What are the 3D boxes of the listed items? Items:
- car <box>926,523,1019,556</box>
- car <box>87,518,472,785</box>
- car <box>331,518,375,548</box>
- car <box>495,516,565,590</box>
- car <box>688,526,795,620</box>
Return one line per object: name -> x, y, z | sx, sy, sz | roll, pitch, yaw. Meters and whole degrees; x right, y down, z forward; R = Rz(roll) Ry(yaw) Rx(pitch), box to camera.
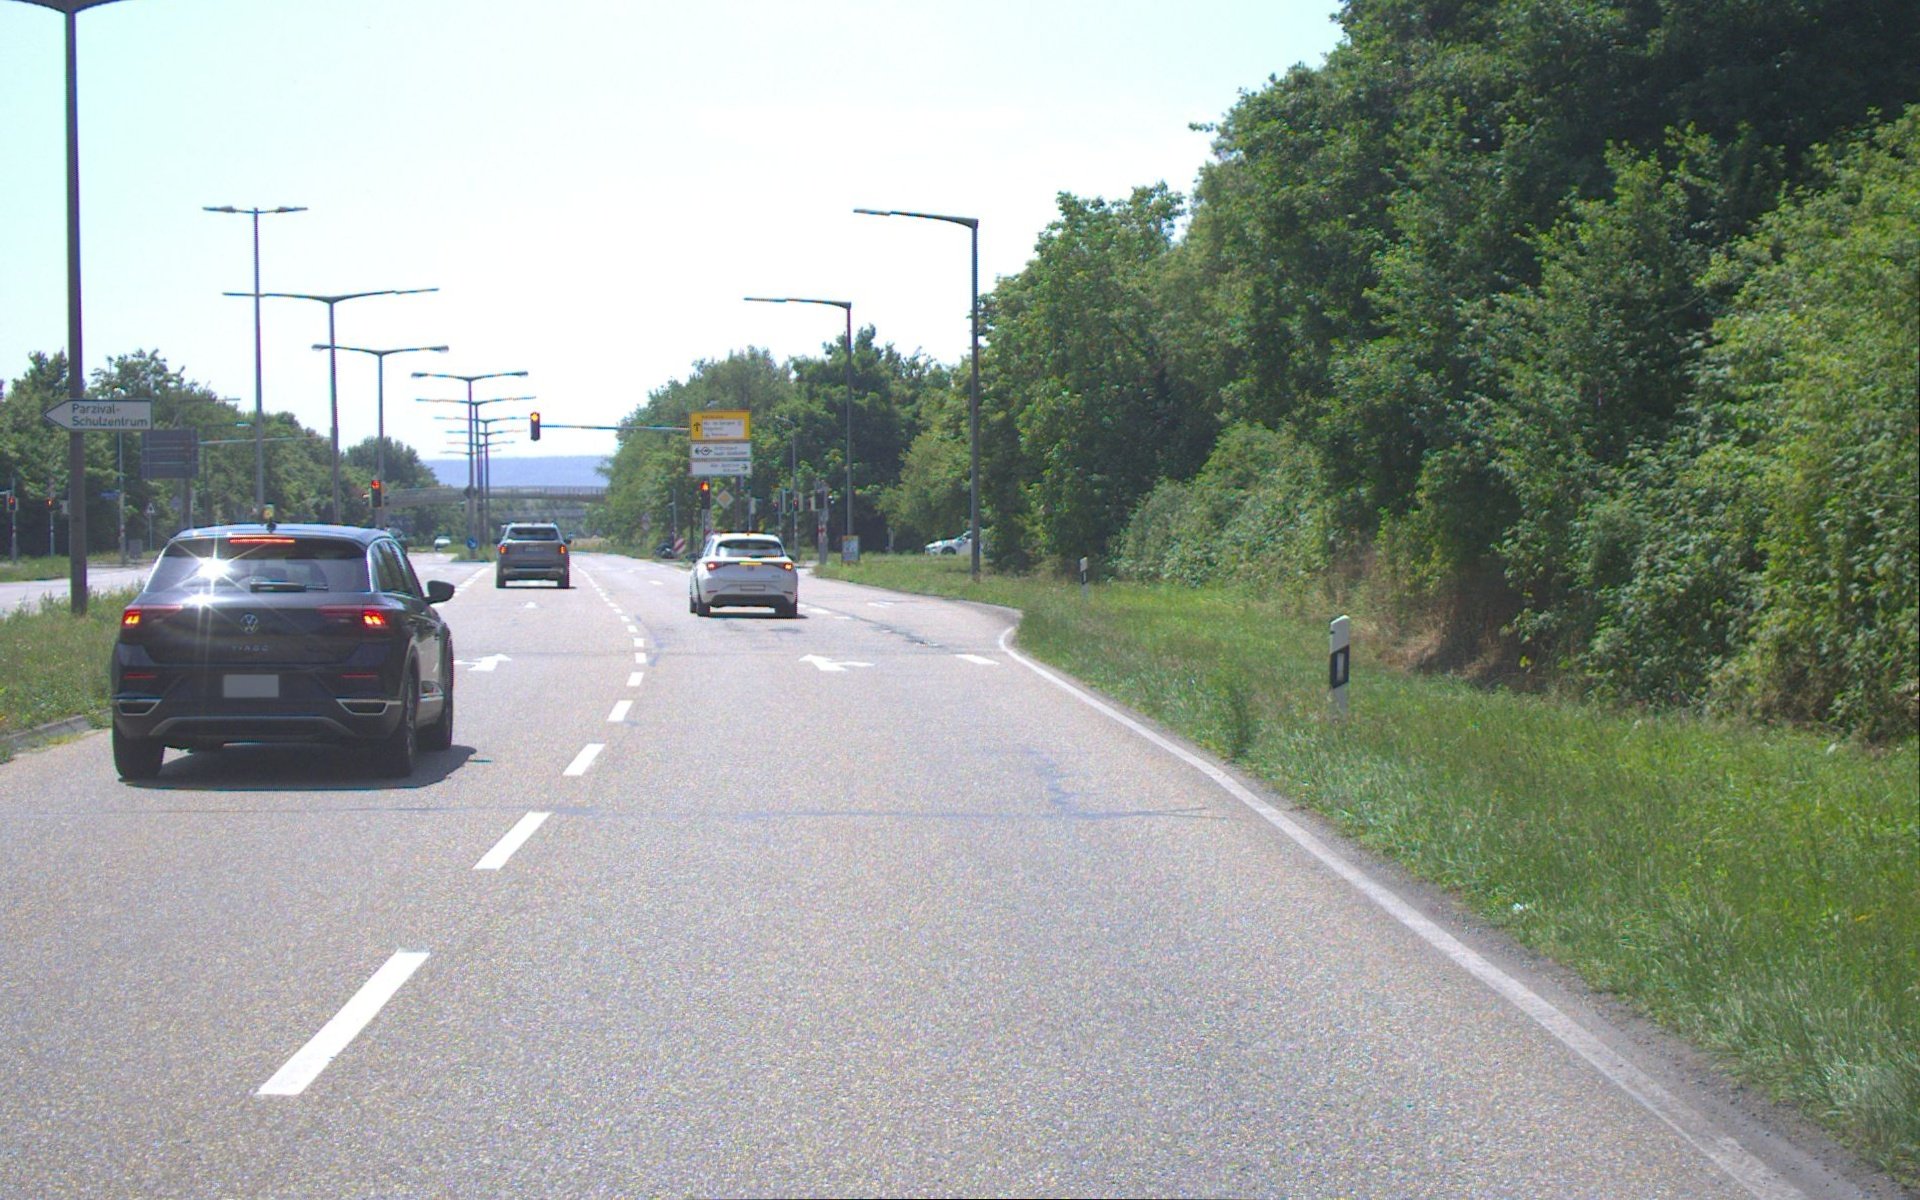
car -> 0.583, -2.923, 165.374 | 4.100, 1.520, 1.939 | -1, 1, -14
car -> -4.235, 0.264, 21.976 | 1.755, 1.550, 4.000 | 0, 1, -1
car -> -30.864, -3.407, 174.930 | 1.828, 1.514, 4.001 | 0, 1, -4
car -> -11.332, -1.241, 90.769 | 1.755, 1.922, 4.001 | 0, 1, -6
car -> -3.821, -0.492, 60.605 | 1.797, 1.577, 4.001 | -1, 1, -3
